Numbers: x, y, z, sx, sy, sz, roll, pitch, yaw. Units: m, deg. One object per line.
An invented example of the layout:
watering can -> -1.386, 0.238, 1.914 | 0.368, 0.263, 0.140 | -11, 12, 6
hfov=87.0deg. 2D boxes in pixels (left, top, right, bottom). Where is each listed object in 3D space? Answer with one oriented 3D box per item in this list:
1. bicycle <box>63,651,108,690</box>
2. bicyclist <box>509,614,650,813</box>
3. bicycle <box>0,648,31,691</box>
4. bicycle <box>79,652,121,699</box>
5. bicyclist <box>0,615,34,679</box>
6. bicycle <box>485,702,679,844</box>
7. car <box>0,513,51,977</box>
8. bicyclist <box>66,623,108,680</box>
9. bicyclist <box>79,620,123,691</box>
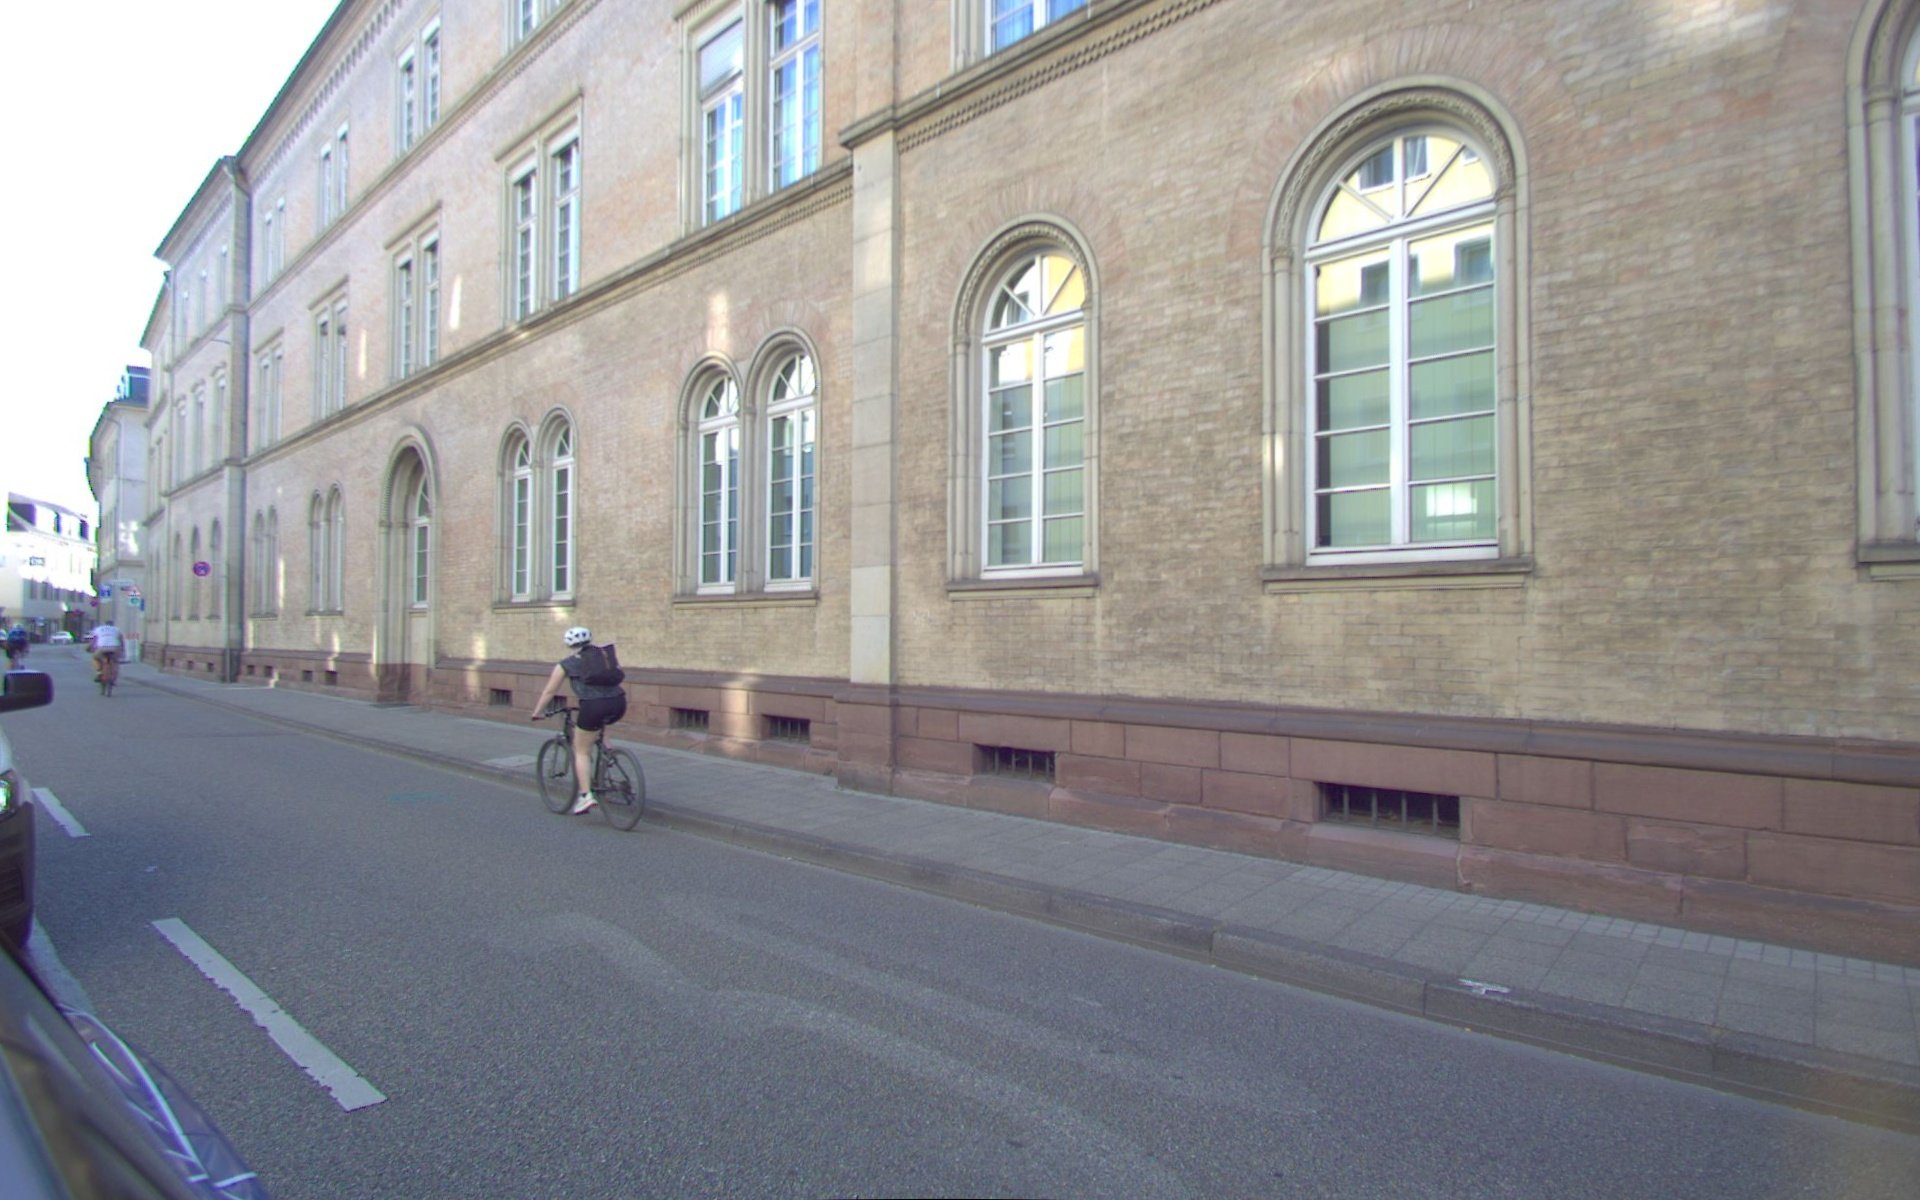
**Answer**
bicycle -> -23.972, 1.923, 27.724 | 1.875, 1.014, 0.643 | -2, -5, 42
bicyclist -> -3.071, 0.882, 8.174 | 0.871, 1.487, 0.678 | -2, -5, 41
bicycle -> -23.395, 1.710, 25.049 | 0.538, 1.014, 1.758 | 5, -5, -43
bicycle -> -19.648, 1.709, 23.119 | 0.642, 1.014, 1.809 | 5, -5, -41
bicyclist -> -23.486, 1.175, 25.186 | 0.538, 1.545, 0.870 | 5, -5, -43
bicycle -> -3.083, 1.335, 8.173 | 1.765, 0.931, 0.678 | -2, -5, 41
car -> -6.336, 0.620, 5.227 | 5.338, 1.850, 1.795 | -2, -3, 41
bicyclist -> -23.933, 1.407, 27.747 | 1.111, 1.520, 0.643 | -2, -5, 42
bicyclist -> -19.622, 1.264, 23.116 | 0.642, 1.579, 0.962 | 5, -5, -41
